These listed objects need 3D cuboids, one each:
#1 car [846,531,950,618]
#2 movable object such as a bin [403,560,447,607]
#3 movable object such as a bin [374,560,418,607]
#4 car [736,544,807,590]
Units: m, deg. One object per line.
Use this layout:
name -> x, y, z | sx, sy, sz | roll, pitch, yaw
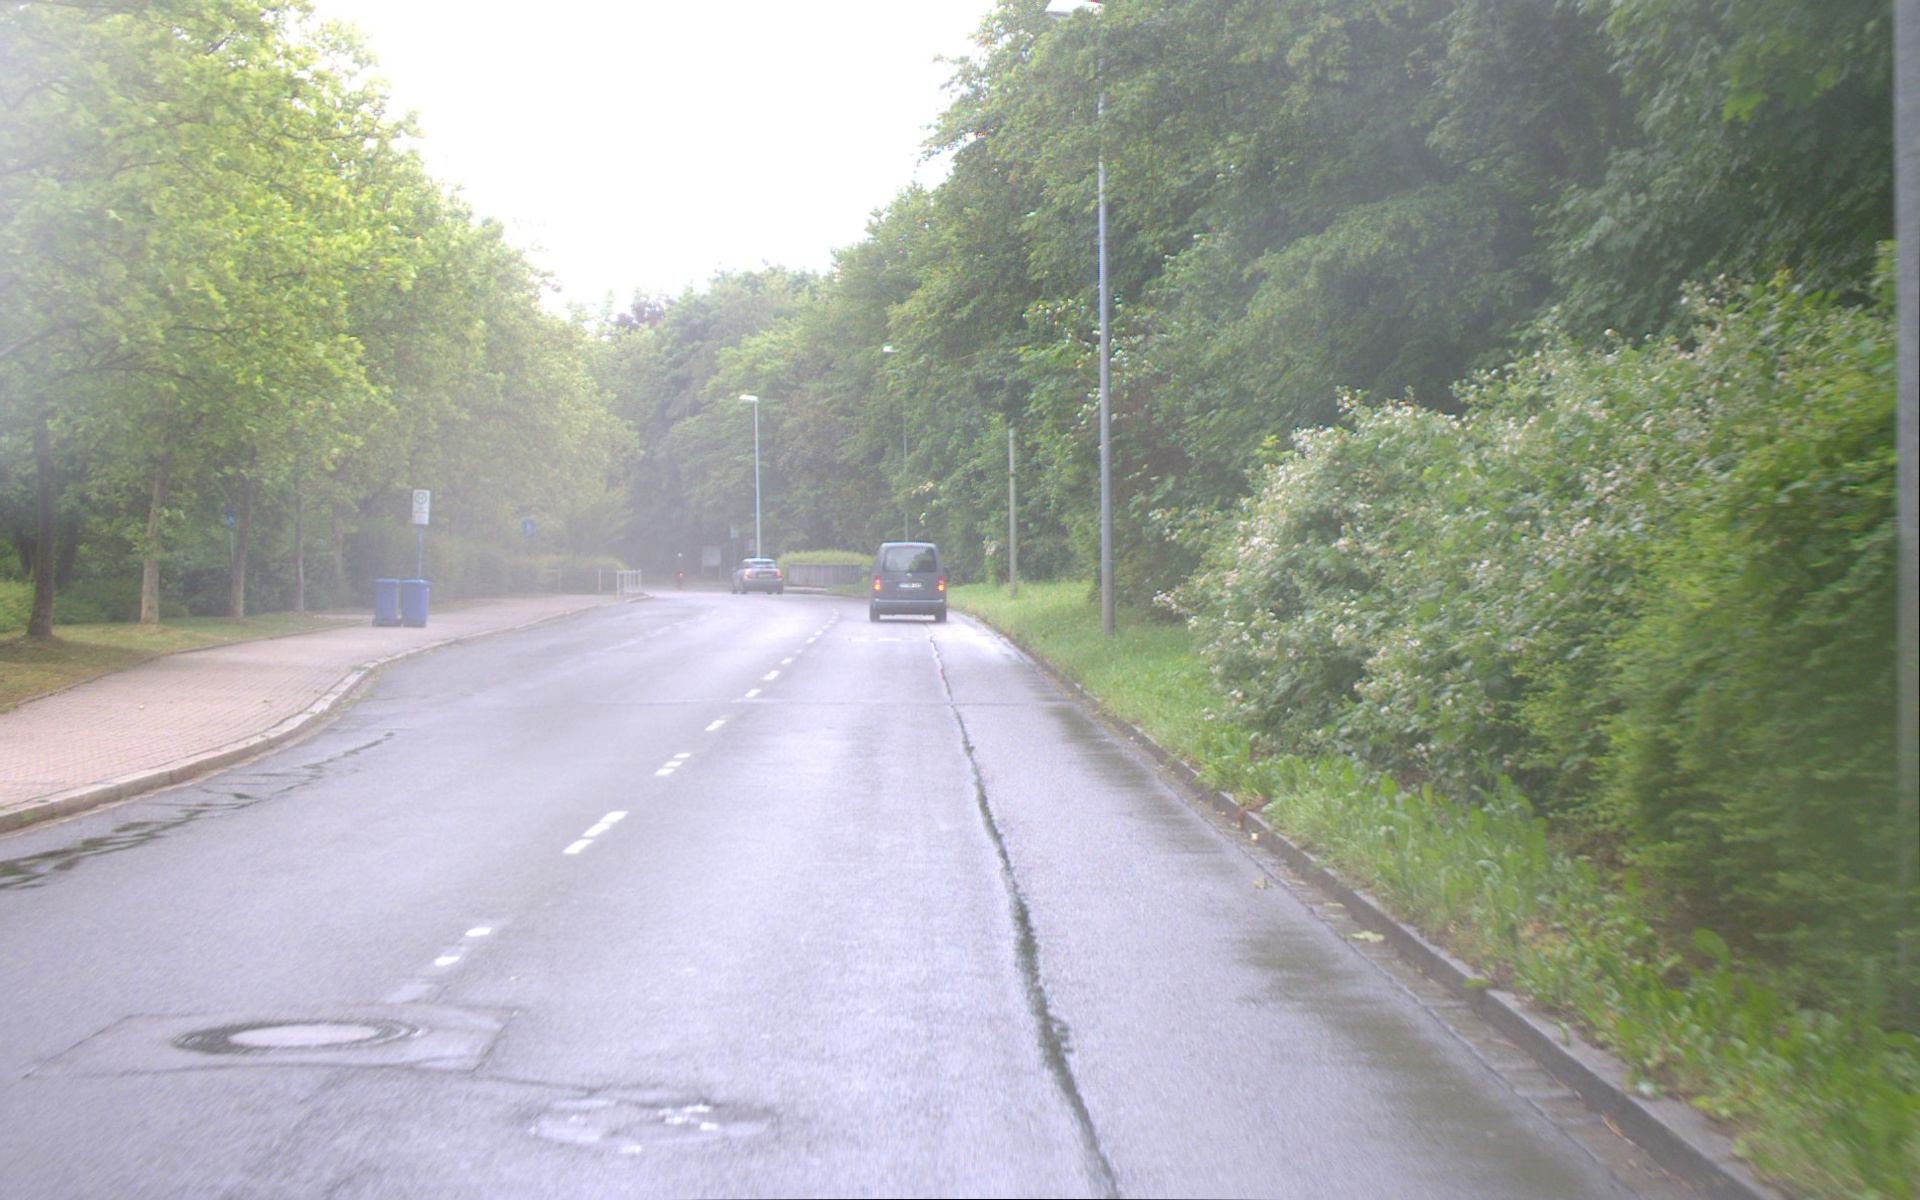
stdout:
car -> -1.475, -0.610, 79.758 | 1.993, 1.787, 4.001 | 2, 2, -6
movable object such as a bin -> -12.072, -0.381, 77.527 | 0.666, 1.023, 0.835 | -3, 2, -32
movable object such as a bin -> -12.658, -0.369, 77.110 | 0.666, 1.023, 0.835 | -3, 2, -32
car -> -7.585, -1.346, 138.000 | 1.993, 1.766, 4.001 | -2, 1, -16
